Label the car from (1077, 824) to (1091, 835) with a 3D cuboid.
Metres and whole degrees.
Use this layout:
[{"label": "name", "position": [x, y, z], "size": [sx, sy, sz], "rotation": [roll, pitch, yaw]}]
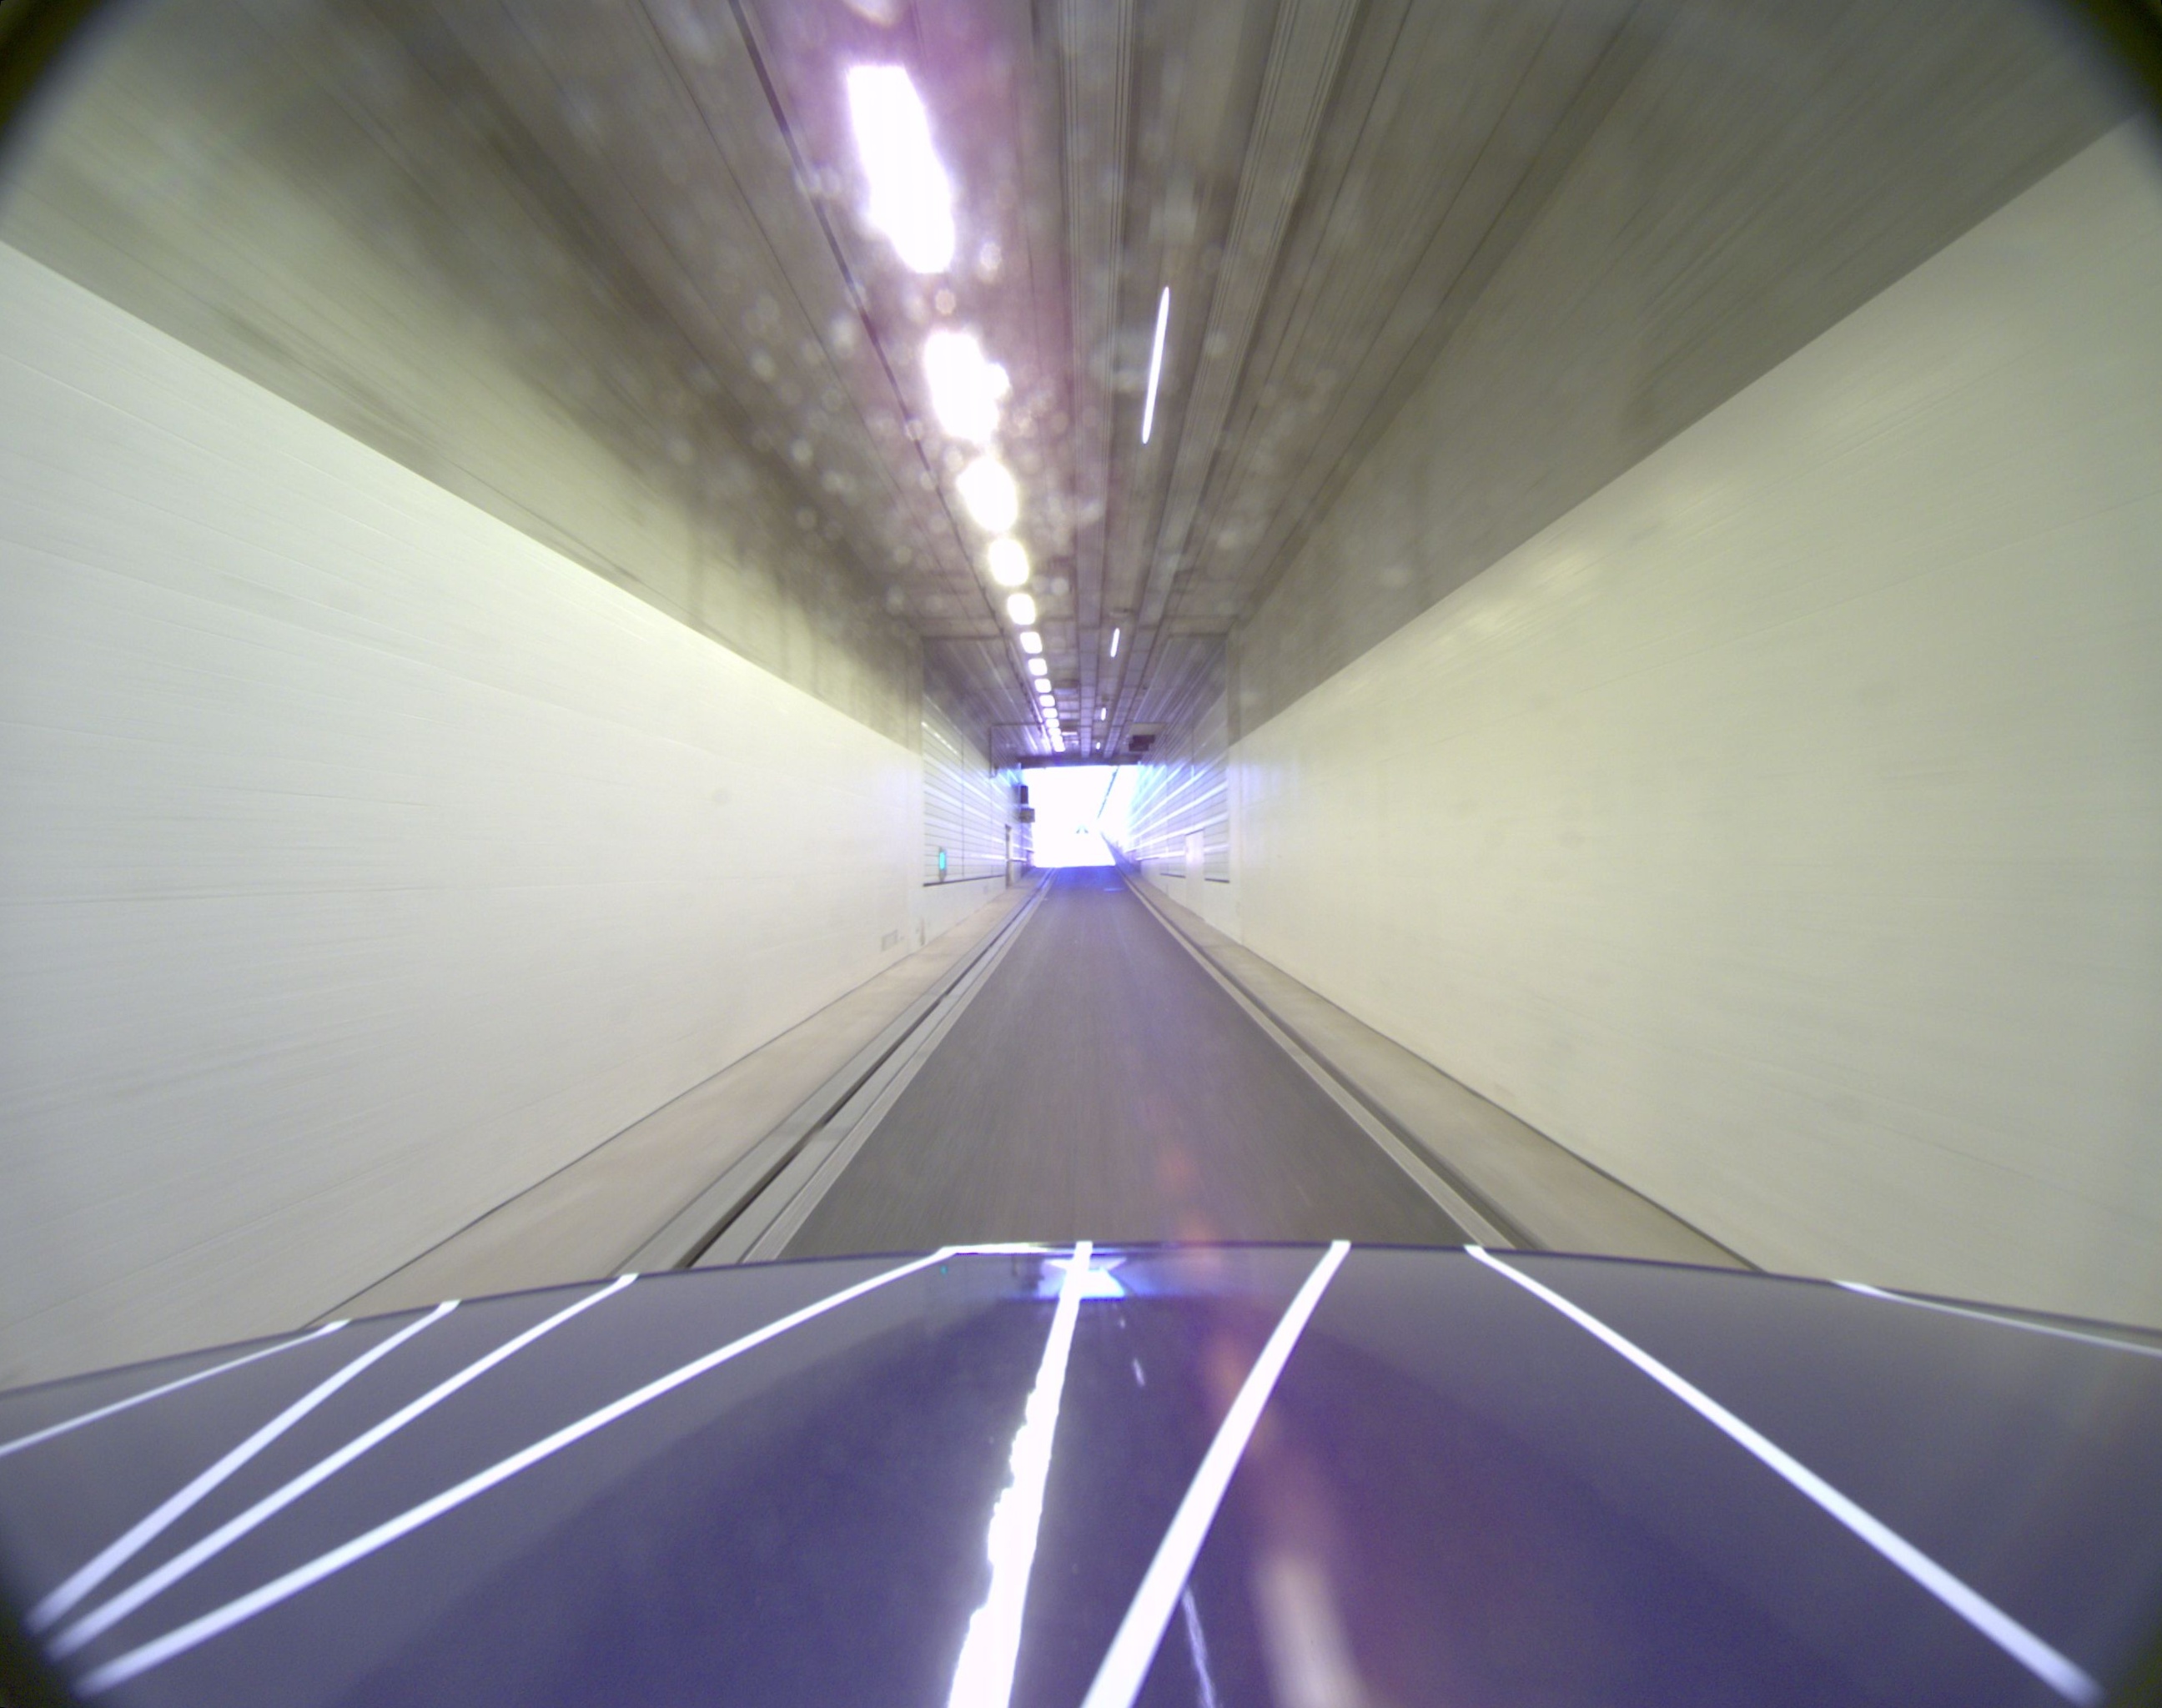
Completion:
[{"label": "car", "position": [0.442, -3.199, 99.802], "size": [1.829, 1.328, 4.000], "rotation": [-1, 0, 1]}]
